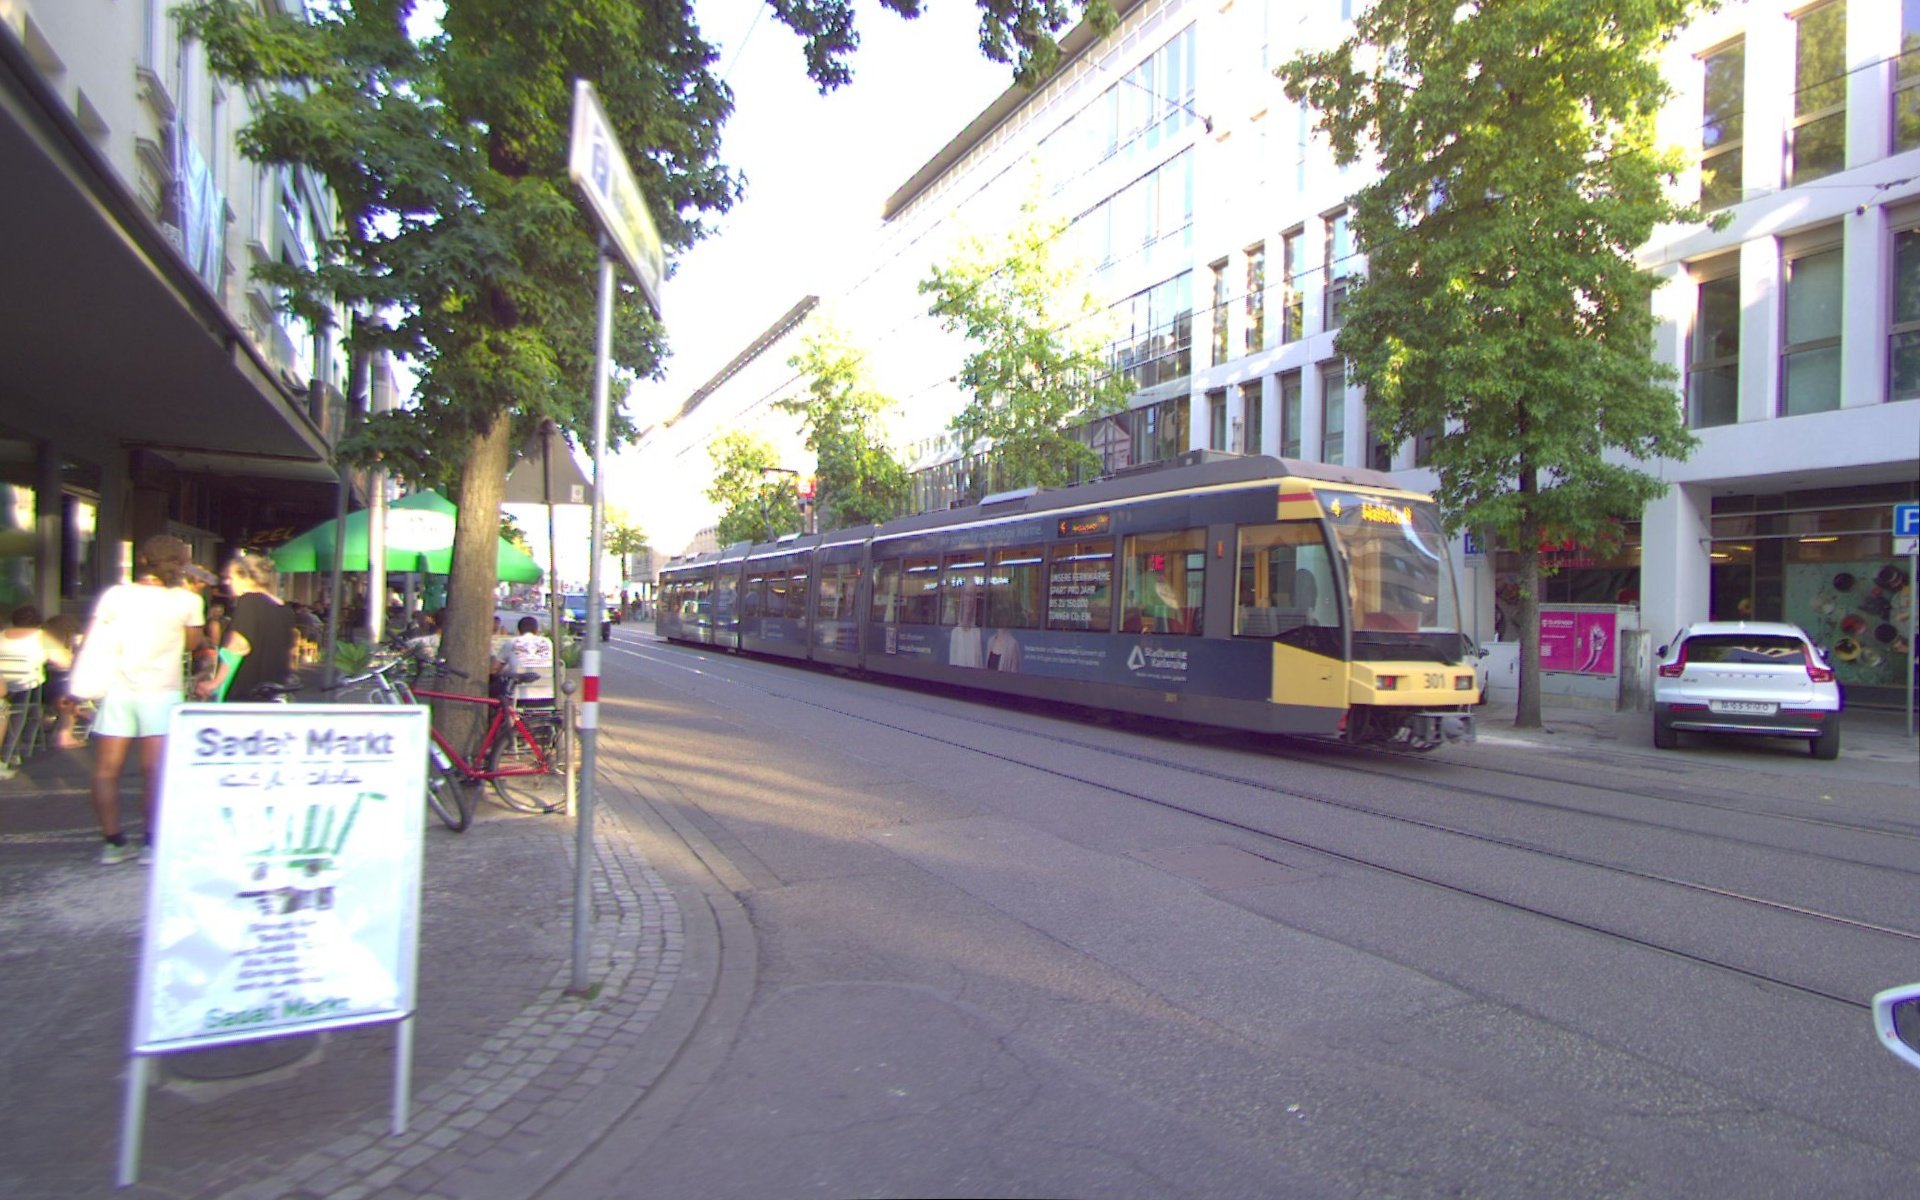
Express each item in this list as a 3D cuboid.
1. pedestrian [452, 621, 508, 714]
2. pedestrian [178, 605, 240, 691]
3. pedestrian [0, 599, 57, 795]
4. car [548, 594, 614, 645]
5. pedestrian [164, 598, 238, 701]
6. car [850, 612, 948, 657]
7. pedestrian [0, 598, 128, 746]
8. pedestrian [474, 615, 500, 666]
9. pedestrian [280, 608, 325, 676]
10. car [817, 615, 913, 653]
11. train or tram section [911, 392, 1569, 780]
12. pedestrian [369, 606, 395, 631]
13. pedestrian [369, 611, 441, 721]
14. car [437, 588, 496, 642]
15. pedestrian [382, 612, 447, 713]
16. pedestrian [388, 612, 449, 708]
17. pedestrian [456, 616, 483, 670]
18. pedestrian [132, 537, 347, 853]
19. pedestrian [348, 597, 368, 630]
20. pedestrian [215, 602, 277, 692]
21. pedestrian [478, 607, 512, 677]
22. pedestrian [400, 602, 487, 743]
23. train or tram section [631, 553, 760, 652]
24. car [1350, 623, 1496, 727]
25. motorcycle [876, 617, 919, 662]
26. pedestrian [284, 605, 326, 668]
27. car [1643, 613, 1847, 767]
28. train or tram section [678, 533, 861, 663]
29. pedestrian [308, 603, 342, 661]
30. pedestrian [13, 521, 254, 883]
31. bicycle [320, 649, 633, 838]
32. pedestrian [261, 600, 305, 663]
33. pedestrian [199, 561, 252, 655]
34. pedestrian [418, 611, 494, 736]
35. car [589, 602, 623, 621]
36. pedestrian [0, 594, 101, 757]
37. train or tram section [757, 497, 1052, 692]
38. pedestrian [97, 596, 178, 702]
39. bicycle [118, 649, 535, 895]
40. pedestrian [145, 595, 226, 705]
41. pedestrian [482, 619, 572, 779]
[{"bbox_3d":[-7.373,1.019,15.447,0.708,1.380,1.005,2,-2,-25],"label":"pedestrian"},{"bbox_3d":[-12.468,0.792,16.701,0.648,1.396,0.760,2,-2,-27],"label":"pedestrian"},{"bbox_3d":[-7.069,0.653,6.996,0.876,1.337,0.876,2,-2,-24],"label":"pedestrian"},{"bbox_3d":[-16.149,0.794,42.654,1.975,2.003,4.814,2,-1,-28],"label":"car"},{"bbox_3d":[-10.606,0.688,14.060,0.648,1.396,0.760,2,-2,-27],"label":"pedestrian"},{"bbox_3d":[-2.355,1.323,39.933,1.844,1.584,4.335,-1,0,30],"label":"car"},{"bbox_3d":[-8.646,0.668,9.566,0.838,1.337,0.877,2,-2,-23],"label":"pedestrian"},{"bbox_3d":[-12.156,1.026,25.803,0.546,1.283,0.637,2,-2,-27],"label":"pedestrian"},{"bbox_3d":[-13.892,0.886,21.241,0.648,1.396,0.760,2,-2,-27],"label":"pedestrian"},{"bbox_3d":[-4.126,1.454,44.140,1.836,1.477,4.165,-1,1,39],"label":"car"},{"bbox_3d":[2.793,-0.029,14.537,2.988,3.570,10.298,2,-1,-27],"label":"train or tram section"},{"bbox_3d":[-27.582,0.890,47.940,0.811,1.135,0.775,5,-3,-18],"label":"pedestrian"},{"bbox_3d":[-7.252,0.844,13.169,0.708,1.380,1.005,2,-2,-25],"label":"pedestrian"},{"bbox_3d":[-18.570,0.586,37.894,1.776,1.841,4.487,4,-3,-25],"label":"car"},{"bbox_3d":[-7.709,0.869,14.233,0.708,1.380,0.919,2,-2,-25],"label":"pedestrian"},{"bbox_3d":[-8.158,0.890,15.168,0.708,1.380,1.005,2,-2,-25],"label":"pedestrian"},{"bbox_3d":[-12.944,1.123,26.492,0.574,1.396,0.561,2,-2,-27],"label":"pedestrian"},{"bbox_3d":[-4.336,0.539,6.087,0.629,1.764,0.781,1,-2,20],"label":"pedestrian"},{"bbox_3d":[-27.242,0.616,45.456,0.603,1.452,0.508,5,-3,-25],"label":"pedestrian"},{"bbox_3d":[-11.501,0.753,16.197,0.648,1.396,0.760,2,-2,-27],"label":"pedestrian"},{"bbox_3d":[-9.379,0.843,20.258,0.542,1.396,0.561,2,-2,-27],"label":"pedestrian"},{"bbox_3d":[-5.312,0.729,10.381,0.708,1.380,0.919,2,-2,-25],"label":"pedestrian"},{"bbox_3d":[-11.477,0.165,42.625,3.016,3.570,10.457,3,-2,-27],"label":"train or tram section"},{"bbox_3d":[8.330,1.227,17.872,1.766,1.521,4.056,-1,0,33],"label":"car"},{"bbox_3d":[-2.254,1.406,36.473,0.780,1.491,2.205,1,1,18],"label":"motorcycle"},{"bbox_3d":[-14.440,0.812,22.163,0.648,1.348,0.760,2,-2,-27],"label":"pedestrian"},{"bbox_3d":[10.764,1.081,13.879,1.922,1.694,4.255,-2,0,38],"label":"car"},{"bbox_3d":[-6.669,0.039,33.166,2.975,3.570,10.769,2,-1,-27],"label":"train or tram section"},{"bbox_3d":[-15.560,0.791,24.615,0.599,1.396,0.644,2,-2,-27],"label":"pedestrian"},{"bbox_3d":[-4.421,0.510,5.399,0.630,1.764,0.780,0,-2,32],"label":"pedestrian"},{"bbox_3d":[-3.297,0.939,6.955,1.845,1.154,0.621,3,-2,-31],"label":"bicycle"},{"bbox_3d":[-15.612,0.725,23.174,0.684,1.396,0.760,2,-2,-27],"label":"pedestrian"},{"bbox_3d":[-14.360,0.165,19.637,0.755,1.789,0.652,0,-2,44],"label":"pedestrian"},{"bbox_3d":[-5.830,0.832,11.660,0.708,1.380,0.866,2,-2,-25],"label":"pedestrian"},{"bbox_3d":[-28.979,0.950,82.148,1.890,1.570,3.968,1,-1,-30],"label":"car"},{"bbox_3d":[-8.100,0.624,8.590,0.876,1.337,0.876,2,-2,-24],"label":"pedestrian"},{"bbox_3d":[-1.891,-0.003,23.761,2.979,3.570,10.329,2,-2,-27],"label":"train or tram section"},{"bbox_3d":[-11.214,0.664,13.725,0.648,1.396,0.760,2,-2,-27],"label":"pedestrian"},{"bbox_3d":[-3.557,0.879,5.825,0.767,1.154,1.861,0,-2,34],"label":"bicycle"},{"bbox_3d":[-10.185,0.649,13.235,0.648,1.396,0.760,2,-2,-27],"label":"pedestrian"},{"bbox_3d":[-4.007,0.883,9.274,0.686,1.395,0.787,2,-2,-25],"label":"pedestrian"}]
